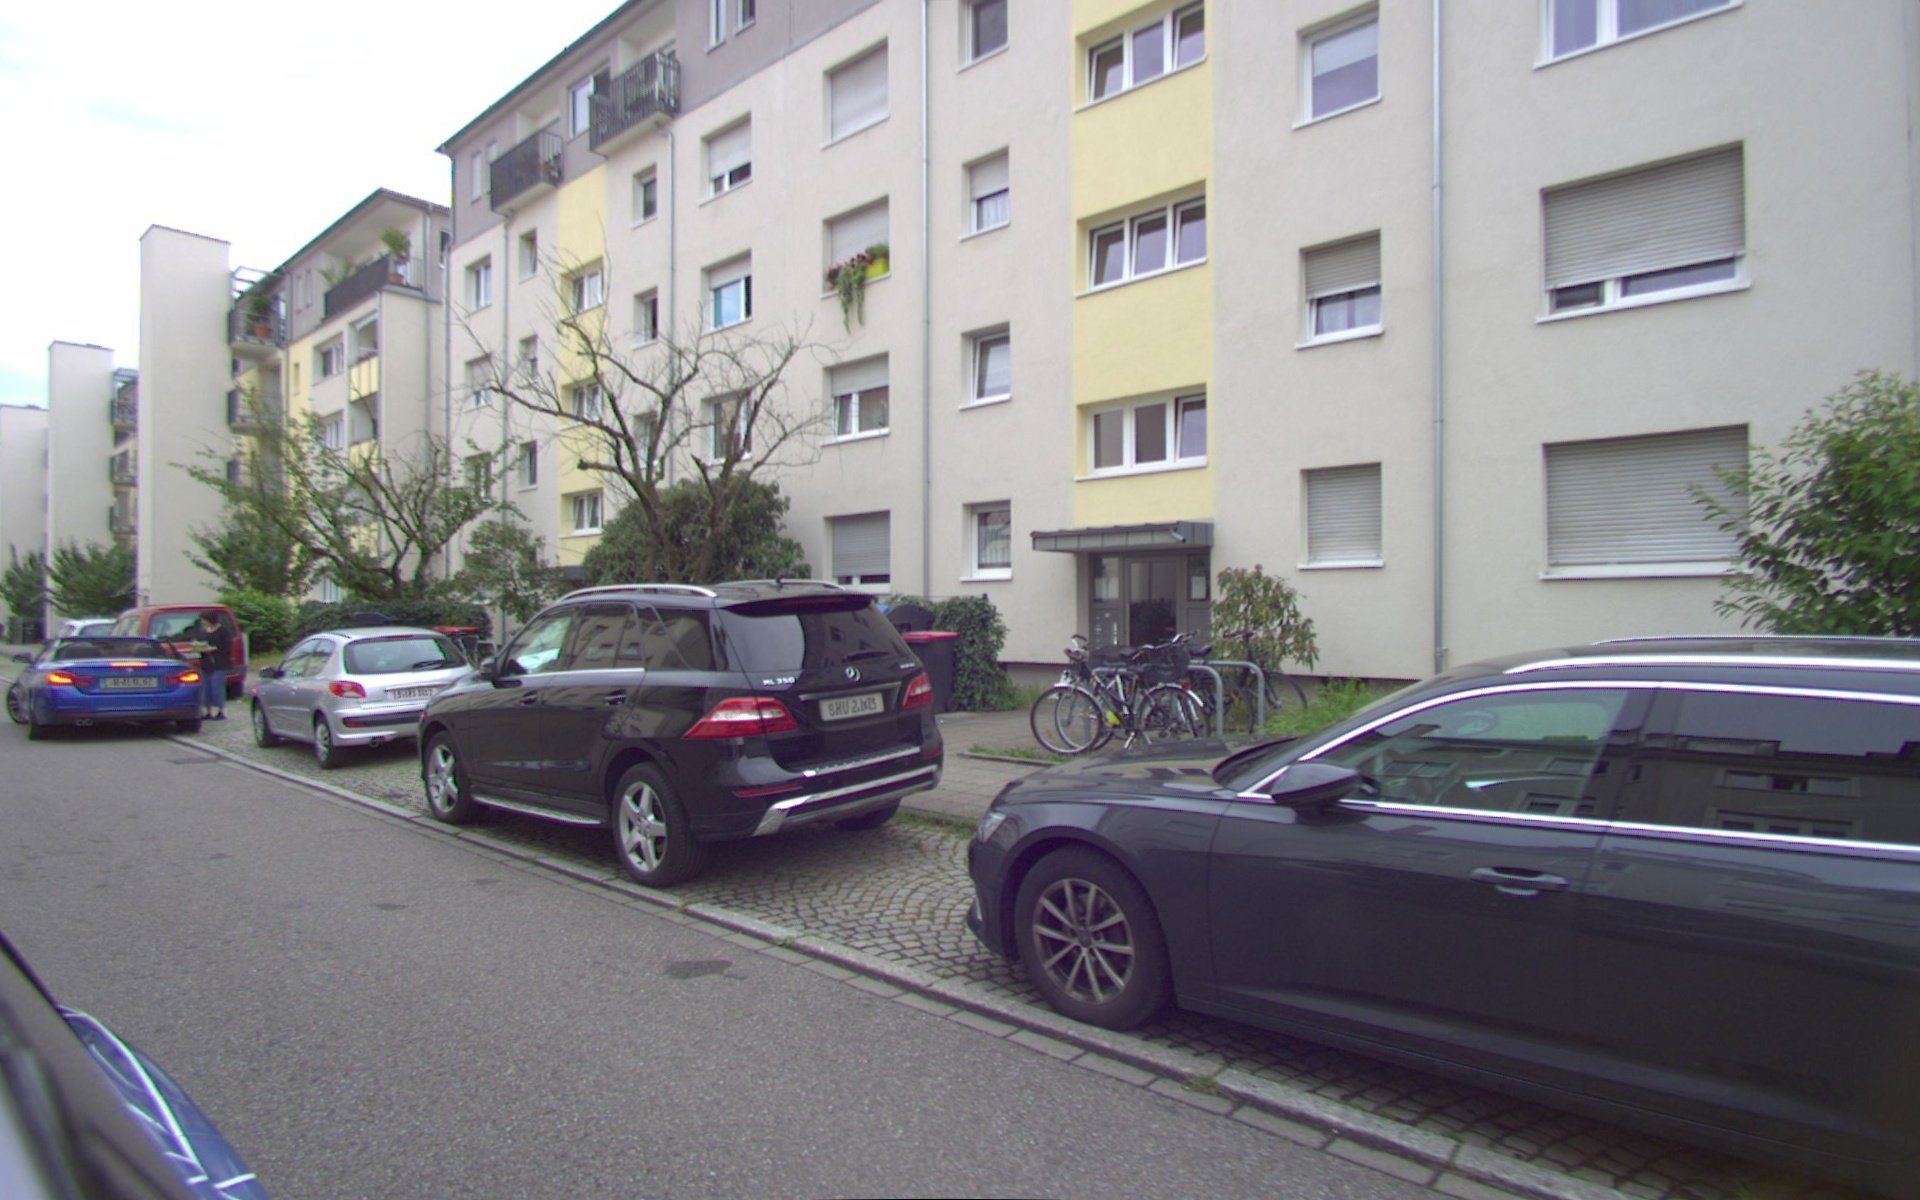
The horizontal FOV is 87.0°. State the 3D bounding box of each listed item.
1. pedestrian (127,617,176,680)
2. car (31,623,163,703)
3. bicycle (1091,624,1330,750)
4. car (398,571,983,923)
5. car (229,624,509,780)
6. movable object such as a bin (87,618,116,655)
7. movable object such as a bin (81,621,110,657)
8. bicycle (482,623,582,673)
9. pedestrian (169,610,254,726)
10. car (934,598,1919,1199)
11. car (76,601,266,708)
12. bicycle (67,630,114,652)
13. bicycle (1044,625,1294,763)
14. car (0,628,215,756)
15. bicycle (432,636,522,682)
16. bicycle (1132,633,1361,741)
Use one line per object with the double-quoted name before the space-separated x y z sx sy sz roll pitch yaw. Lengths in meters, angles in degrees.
"pedestrian" -21.350 1.258 26.727 0.945 1.622 0.792 -1 -1 37
"car" -19.590 1.350 22.920 3.868 1.582 1.703 -1 1 41
"bicycle" 2.587 0.861 10.709 2.354 1.195 0.780 -2 -2 41
"car" -2.167 0.760 7.312 4.472 1.753 1.875 -1 1 41
"car" -7.078 1.066 11.980 3.784 1.476 1.726 -1 1 41
"movable object such as a bin" -34.847 1.473 41.085 1.289 1.440 0.794 -1 0 45
"movable object such as a bin" -35.887 1.617 41.995 1.288 1.440 0.794 -1 0 44
"bicycle" -9.050 0.981 21.327 2.754 1.006 0.769 -1 -2 40
"pedestrian" -11.463 1.015 15.513 0.791 1.714 0.737 -1 -2 24
"car" 2.274 0.775 3.389 4.664 1.463 1.875 -1 1 41
"car" -15.145 0.970 19.356 4.357 1.784 1.937 -1 0 39
"bicycle" -45.888 2.155 53.437 0.604 1.127 1.816 -1 0 40
"bicycle" 2.026 0.872 10.103 2.354 1.221 0.780 -2 -2 41
"car" -12.182 1.166 14.307 4.500 1.462 1.825 -1 0 43
"bicycle" -9.744 1.162 20.350 2.754 0.854 0.565 -1 -2 40
"bicycle" 3.150 0.918 11.331 2.354 1.089 0.780 -2 -2 41
